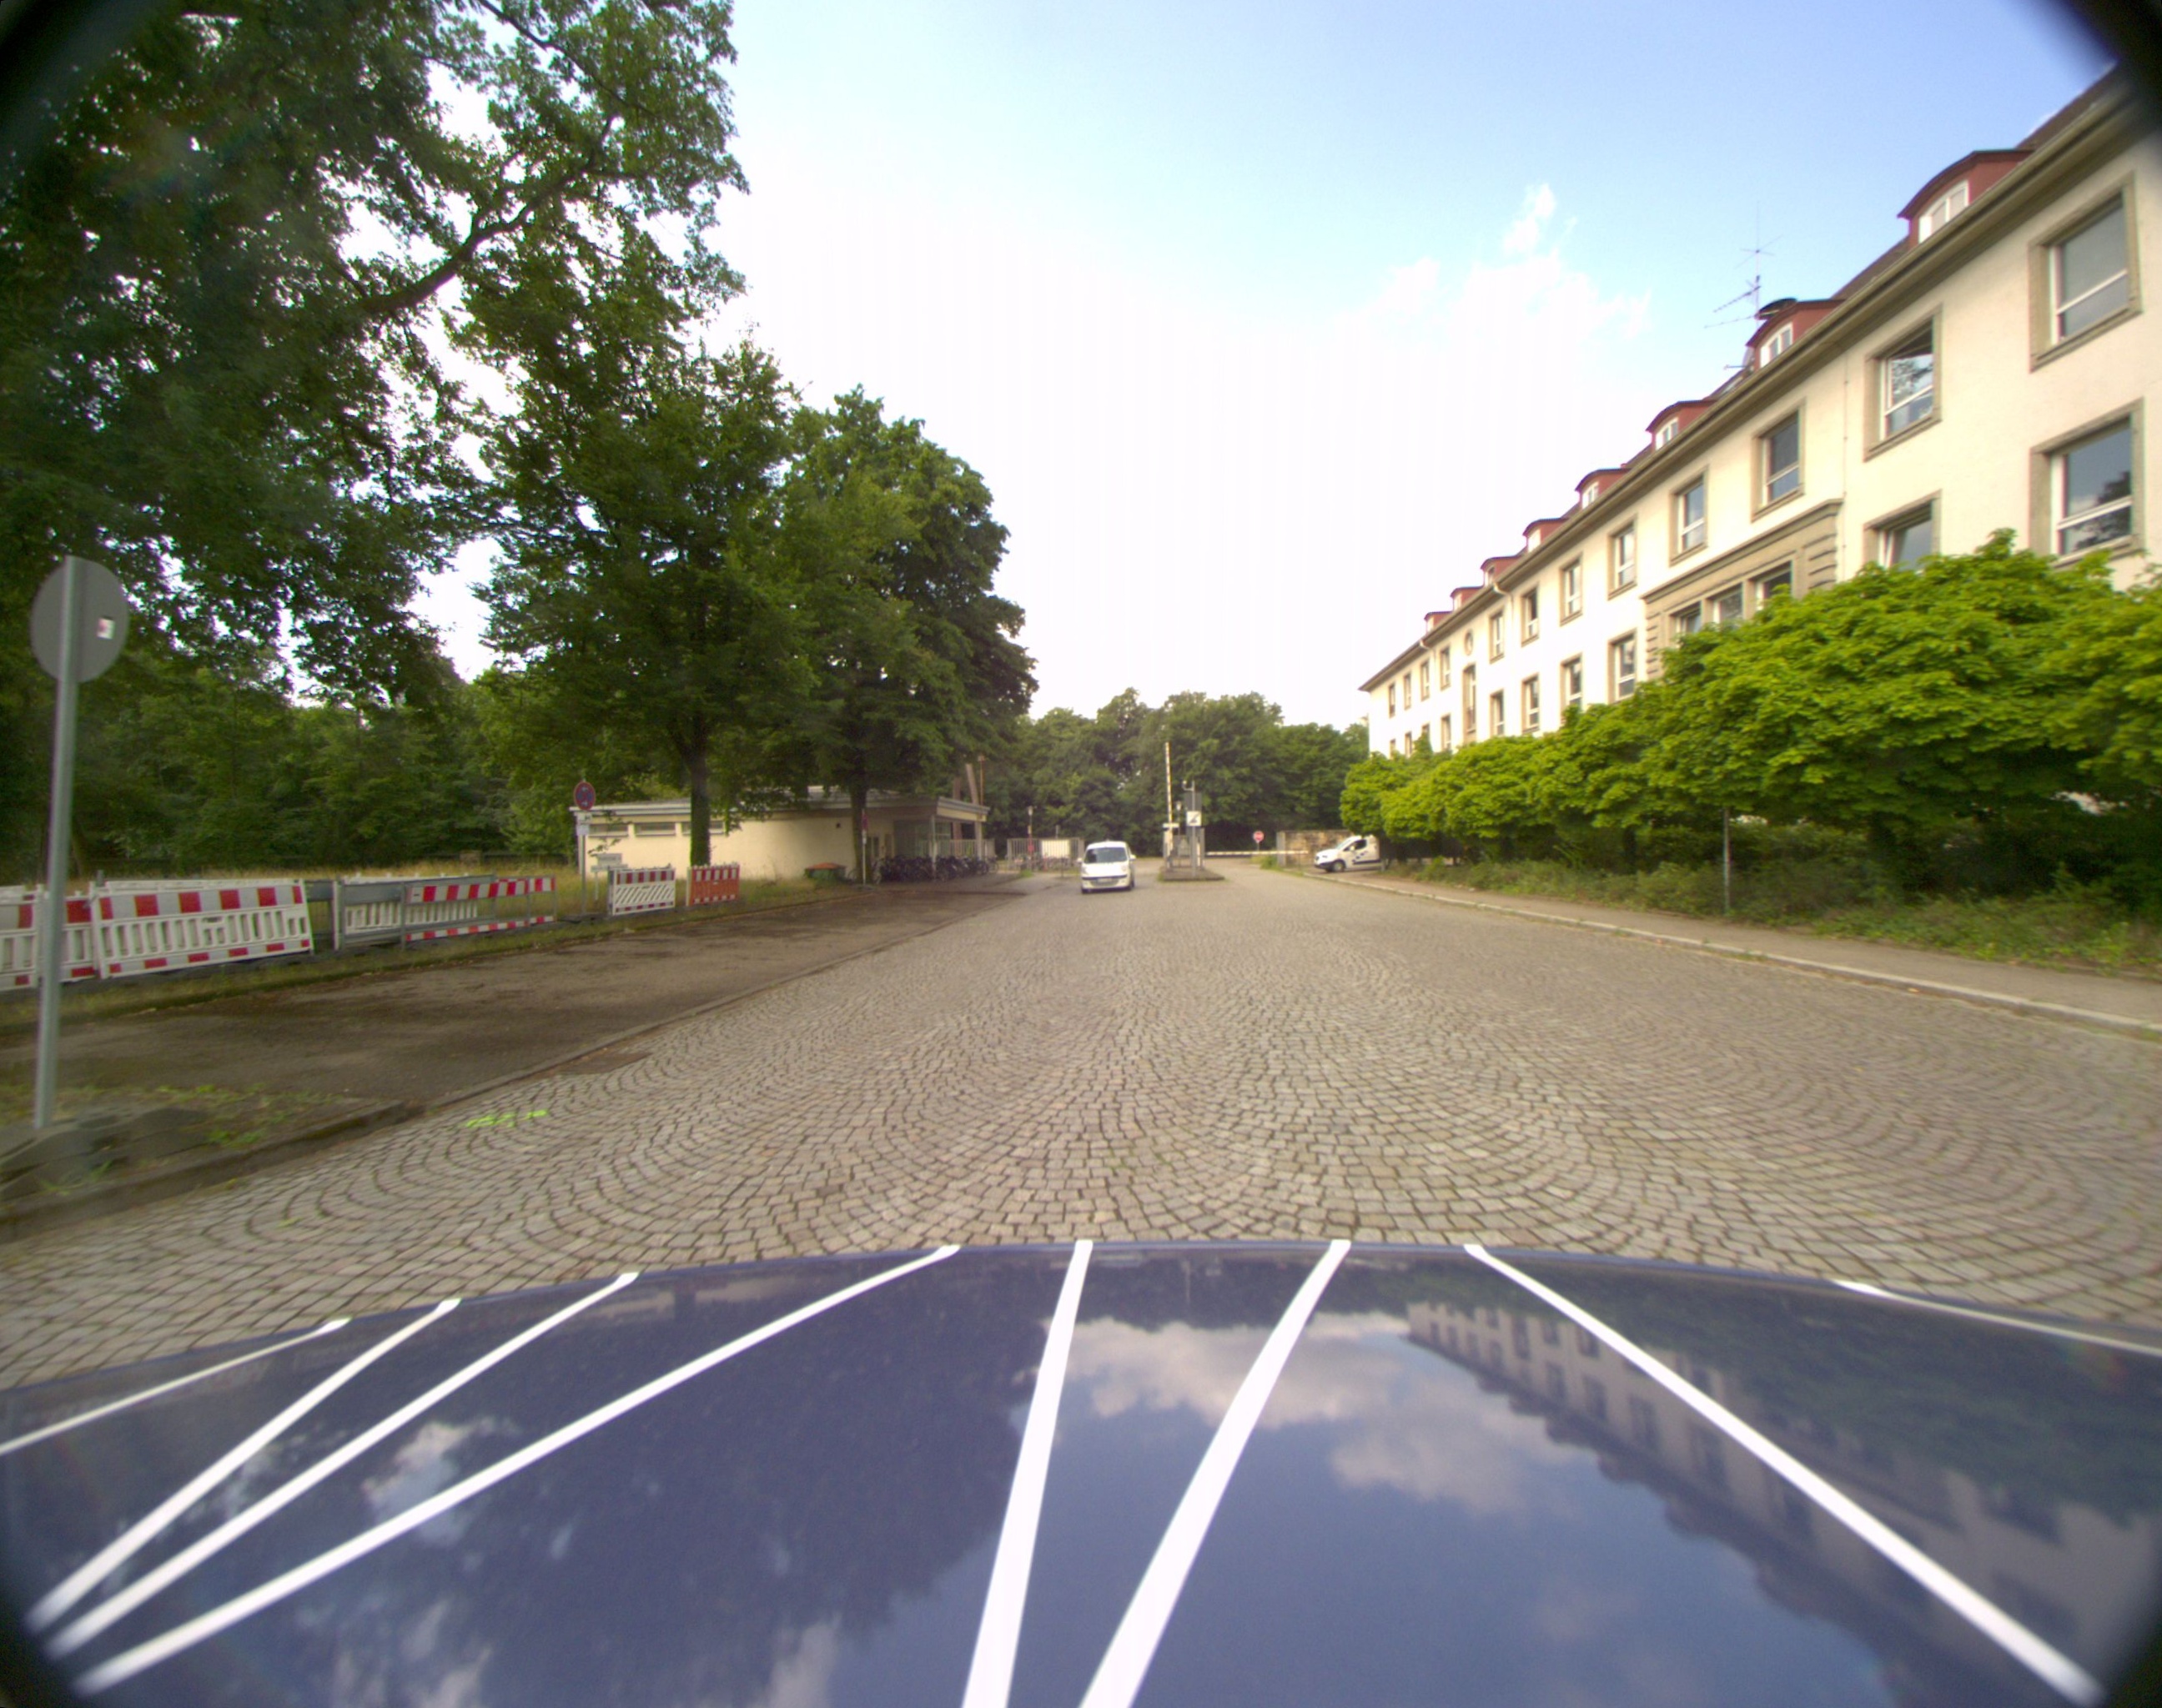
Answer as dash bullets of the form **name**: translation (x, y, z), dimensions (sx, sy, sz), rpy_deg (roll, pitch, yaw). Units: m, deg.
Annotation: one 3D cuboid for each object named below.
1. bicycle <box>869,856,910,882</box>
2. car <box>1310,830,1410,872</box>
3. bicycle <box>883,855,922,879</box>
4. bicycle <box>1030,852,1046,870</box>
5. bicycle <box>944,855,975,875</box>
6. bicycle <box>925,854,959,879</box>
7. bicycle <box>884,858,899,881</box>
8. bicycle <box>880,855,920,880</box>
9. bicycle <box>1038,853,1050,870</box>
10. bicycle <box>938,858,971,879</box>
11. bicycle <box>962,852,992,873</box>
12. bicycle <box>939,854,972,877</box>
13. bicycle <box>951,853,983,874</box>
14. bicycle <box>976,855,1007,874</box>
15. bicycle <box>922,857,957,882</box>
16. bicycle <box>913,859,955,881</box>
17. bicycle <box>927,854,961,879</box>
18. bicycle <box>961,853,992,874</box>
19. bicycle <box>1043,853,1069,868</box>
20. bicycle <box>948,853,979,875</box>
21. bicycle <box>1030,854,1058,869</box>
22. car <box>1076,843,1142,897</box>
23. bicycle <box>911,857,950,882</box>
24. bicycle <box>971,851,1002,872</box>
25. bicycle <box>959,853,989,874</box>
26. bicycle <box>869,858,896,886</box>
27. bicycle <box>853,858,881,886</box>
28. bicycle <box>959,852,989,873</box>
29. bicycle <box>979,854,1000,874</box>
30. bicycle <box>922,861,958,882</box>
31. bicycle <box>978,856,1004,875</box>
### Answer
- **bicycle**: translation (-8.736, 0.663, 34.700), dimensions (1.745, 1.158, 0.608), rpy_deg (0, 1, 1)
- **car**: translation (14.139, -0.156, 38.686), dimensions (4.310, 1.796, 1.820), rpy_deg (-4, 1, 3)
- **bicycle**: translation (-8.610, 0.626, 36.644), dimensions (1.745, 1.158, 0.608), rpy_deg (0, 1, 1)
- **bicycle**: translation (-2.629, 0.406, 46.446), dimensions (0.691, 1.056, 1.566), rpy_deg (-1, 1, 6)
- **bicycle**: translation (-6.323, 0.557, 39.511), dimensions (1.595, 1.044, 0.325), rpy_deg (0, 1, -2)
- **bicycle**: translation (-6.759, 0.598, 36.945), dimensions (1.635, 1.183, 0.419), rpy_deg (0, 1, -7)
- **bicycle**: translation (-9.445, 0.772, 37.881), dimensions (0.480, 1.070, 1.680), rpy_deg (0, 1, -6)
- **bicycle**: translation (-8.511, 0.636, 35.712), dimensions (1.745, 1.158, 0.608), rpy_deg (0, 1, 1)
- **bicycle**: translation (-2.363, 0.484, 48.572), dimensions (0.474, 1.051, 1.733), rpy_deg (-1, 1, 6)
- **bicycle**: translation (-6.475, 0.738, 38.945), dimensions (1.635, 1.044, 0.334), rpy_deg (0, 1, -9)
- **bicycle**: translation (-5.809, 0.468, 42.482), dimensions (1.617, 1.134, 0.356), rpy_deg (0, 1, -2)
- **bicycle**: translation (-6.339, 0.581, 38.329), dimensions (1.635, 1.183, 0.498), rpy_deg (0, 1, -7)
- **bicycle**: translation (-6.089, 0.512, 40.602), dimensions (1.617, 1.134, 0.325), rpy_deg (0, 1, -2)
- **bicycle**: translation (-5.185, 0.607, 44.236), dimensions (1.753, 1.040, 0.453), rpy_deg (-2, 1, -34)
- **bicycle**: translation (-6.763, 0.717, 36.392), dimensions (1.635, 1.183, 0.473), rpy_deg (0, 1, -8)
- **bicycle**: translation (-6.756, 0.726, 34.964), dimensions (1.748, 0.970, 0.757), rpy_deg (0, 1, -25)
- **bicycle**: translation (-6.756, 0.613, 37.559), dimensions (1.635, 1.183, 0.419), rpy_deg (0, 1, -7)
- **bicycle**: translation (-5.675, 0.499, 41.367), dimensions (1.617, 1.134, 0.325), rpy_deg (0, 1, -2)
- **bicycle**: translation (-1.671, 0.453, 51.536), dimensions (1.729, 1.027, 0.387), rpy_deg (0, 1, 6)
- **bicycle**: translation (-6.186, 0.527, 39.936), dimensions (1.595, 1.134, 0.325), rpy_deg (0, 1, -2)
- **bicycle**: translation (-2.470, 0.505, 50.965), dimensions (1.867, 0.934, 0.503), rpy_deg (0, 1, 0)
- **car**: translation (1.103, 0.528, 27.988), dimensions (1.865, 1.749, 4.151), rpy_deg (-3, 0, 9)
- **bicycle**: translation (-6.747, 0.675, 34.133), dimensions (1.681, 1.102, 0.338), rpy_deg (0, 1, -8)
- **bicycle**: translation (-5.570, 0.441, 44.678), dimensions (1.743, 1.125, 0.473), rpy_deg (-2, 1, -36)
- **bicycle**: translation (-5.765, 0.510, 40.988), dimensions (1.617, 1.134, 0.325), rpy_deg (0, 1, -2)
- **bicycle**: translation (-8.275, 0.736, 31.670), dimensions (0.598, 1.110, 1.635), rpy_deg (0, 1, 4)
- **bicycle**: translation (-8.905, 0.741, 31.697), dimensions (0.598, 1.110, 1.635), rpy_deg (0, 1, 4)
- **bicycle**: translation (-5.881, 0.484, 41.836), dimensions (1.617, 1.134, 0.356), rpy_deg (0, 1, -2)
- **bicycle**: translation (-5.204, 0.558, 43.116), dimensions (1.154, 1.057, 0.286), rpy_deg (-2, 1, -16)
- **bicycle**: translation (-6.644, 0.826, 35.756), dimensions (1.637, 0.970, 0.322), rpy_deg (0, 1, -25)
- **bicycle**: translation (-5.174, 0.631, 43.542), dimensions (1.407, 1.040, 0.338), rpy_deg (-2, 1, -21)
